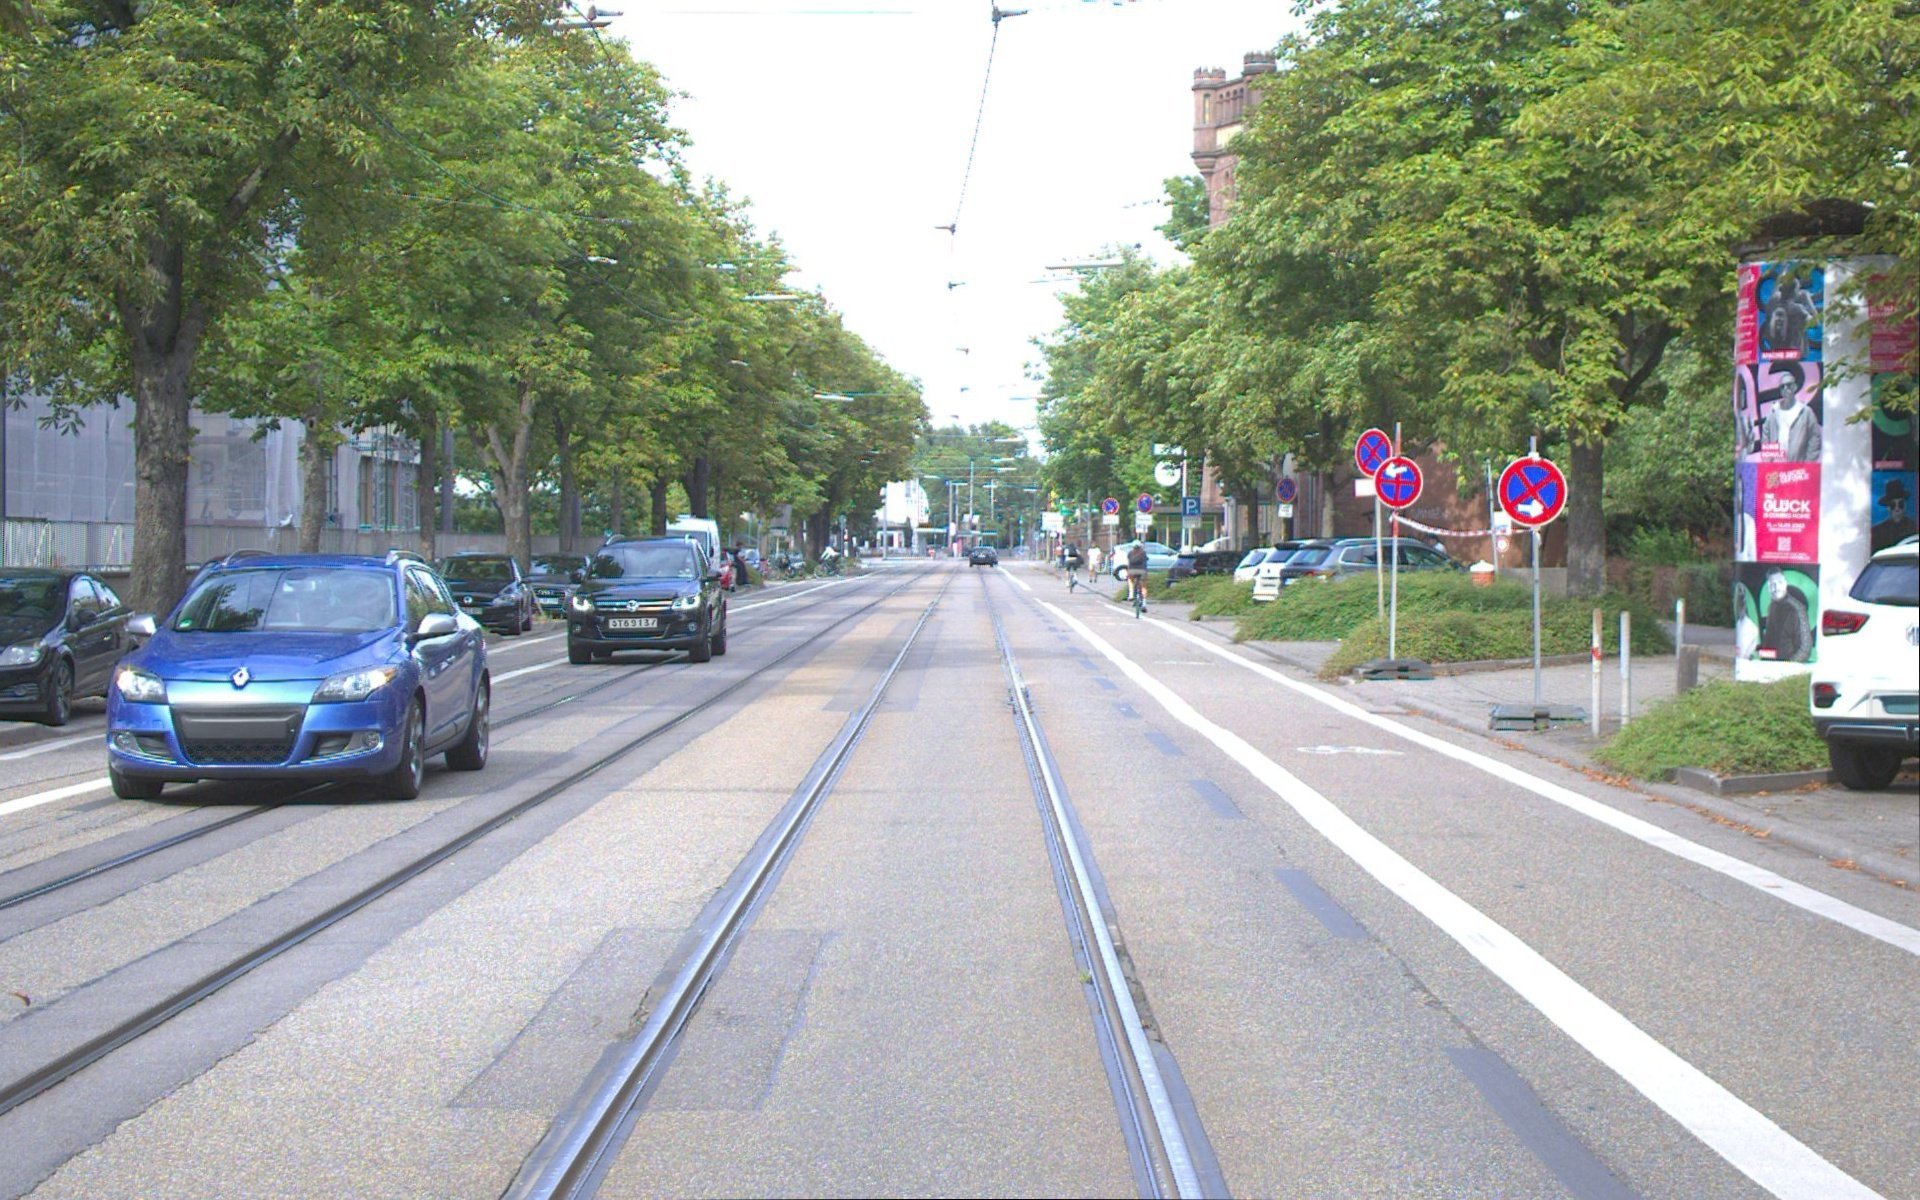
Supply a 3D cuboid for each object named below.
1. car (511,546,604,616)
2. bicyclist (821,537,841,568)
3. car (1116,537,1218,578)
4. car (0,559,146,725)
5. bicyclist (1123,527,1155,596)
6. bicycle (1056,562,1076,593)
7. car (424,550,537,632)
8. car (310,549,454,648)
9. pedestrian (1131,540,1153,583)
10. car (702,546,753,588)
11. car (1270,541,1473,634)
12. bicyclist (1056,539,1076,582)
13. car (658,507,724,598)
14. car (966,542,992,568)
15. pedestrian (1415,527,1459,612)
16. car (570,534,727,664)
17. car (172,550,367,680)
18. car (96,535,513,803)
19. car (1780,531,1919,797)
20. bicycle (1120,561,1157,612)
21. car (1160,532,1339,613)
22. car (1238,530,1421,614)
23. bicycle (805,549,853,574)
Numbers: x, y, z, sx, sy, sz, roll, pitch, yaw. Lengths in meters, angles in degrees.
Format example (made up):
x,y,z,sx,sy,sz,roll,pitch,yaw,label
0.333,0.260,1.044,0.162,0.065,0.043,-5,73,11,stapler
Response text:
x,y,z,sx,sy,sz,roll,pitch,yaw,label
-8.430,-0.424,72.202,1.590,1.398,3.963,1,1,-2,car
-6.365,-2.354,169.839,0.847,1.499,0.768,1,1,8,bicyclist
8.661,-1.795,144.195,3.986,1.687,2.000,1,1,-5,car
-8.733,0.340,31.735,1.590,1.398,3.963,1,1,-2,car
3.809,-0.832,73.277,0.592,1.454,0.875,1,1,-2,bicyclist
3.660,-0.781,118.958,0.663,1.040,1.841,1,1,1,bicycle
-8.605,-0.187,61.905,1.590,1.398,3.963,1,1,-2,car
-8.628,-0.056,51.593,1.590,1.398,3.963,1,1,-2,car
7.608,-1.596,143.839,0.748,1.783,0.730,1,0,16,pedestrian
-8.011,-1.156,118.450,1.590,1.398,3.963,1,1,-2,car
7.328,-0.231,61.092,1.681,1.597,3.637,1,1,45,car
3.671,-1.363,118.953,0.659,1.491,0.929,1,1,1,bicyclist
-8.265,-1.472,105.962,1.720,2.695,5.471,1,1,-2,car
1.359,-3.243,246.909,1.795,1.817,4.679,1,1,-1,car
10.367,-0.668,74.747,0.786,1.820,0.661,1,1,20,pedestrian
-4.117,-0.055,46.011,1.732,1.623,4.378,-1,1,-1,car
-8.460,0.149,42.394,1.635,1.491,3.963,1,1,-1,car
-3.989,0.350,21.616,1.732,1.491,4.378,0,1,1,car
6.966,0.383,21.999,1.681,1.597,3.637,1,1,45,car
3.799,-0.297,73.284,0.592,1.040,1.978,1,1,-2,bicycle
5.907,-0.552,69.987,1.681,1.597,3.637,1,1,45,car
7.313,-0.551,67.836,1.681,1.597,3.637,1,1,45,car
-6.479,-1.888,169.859,2.275,1.185,0.768,1,1,8,bicycle
